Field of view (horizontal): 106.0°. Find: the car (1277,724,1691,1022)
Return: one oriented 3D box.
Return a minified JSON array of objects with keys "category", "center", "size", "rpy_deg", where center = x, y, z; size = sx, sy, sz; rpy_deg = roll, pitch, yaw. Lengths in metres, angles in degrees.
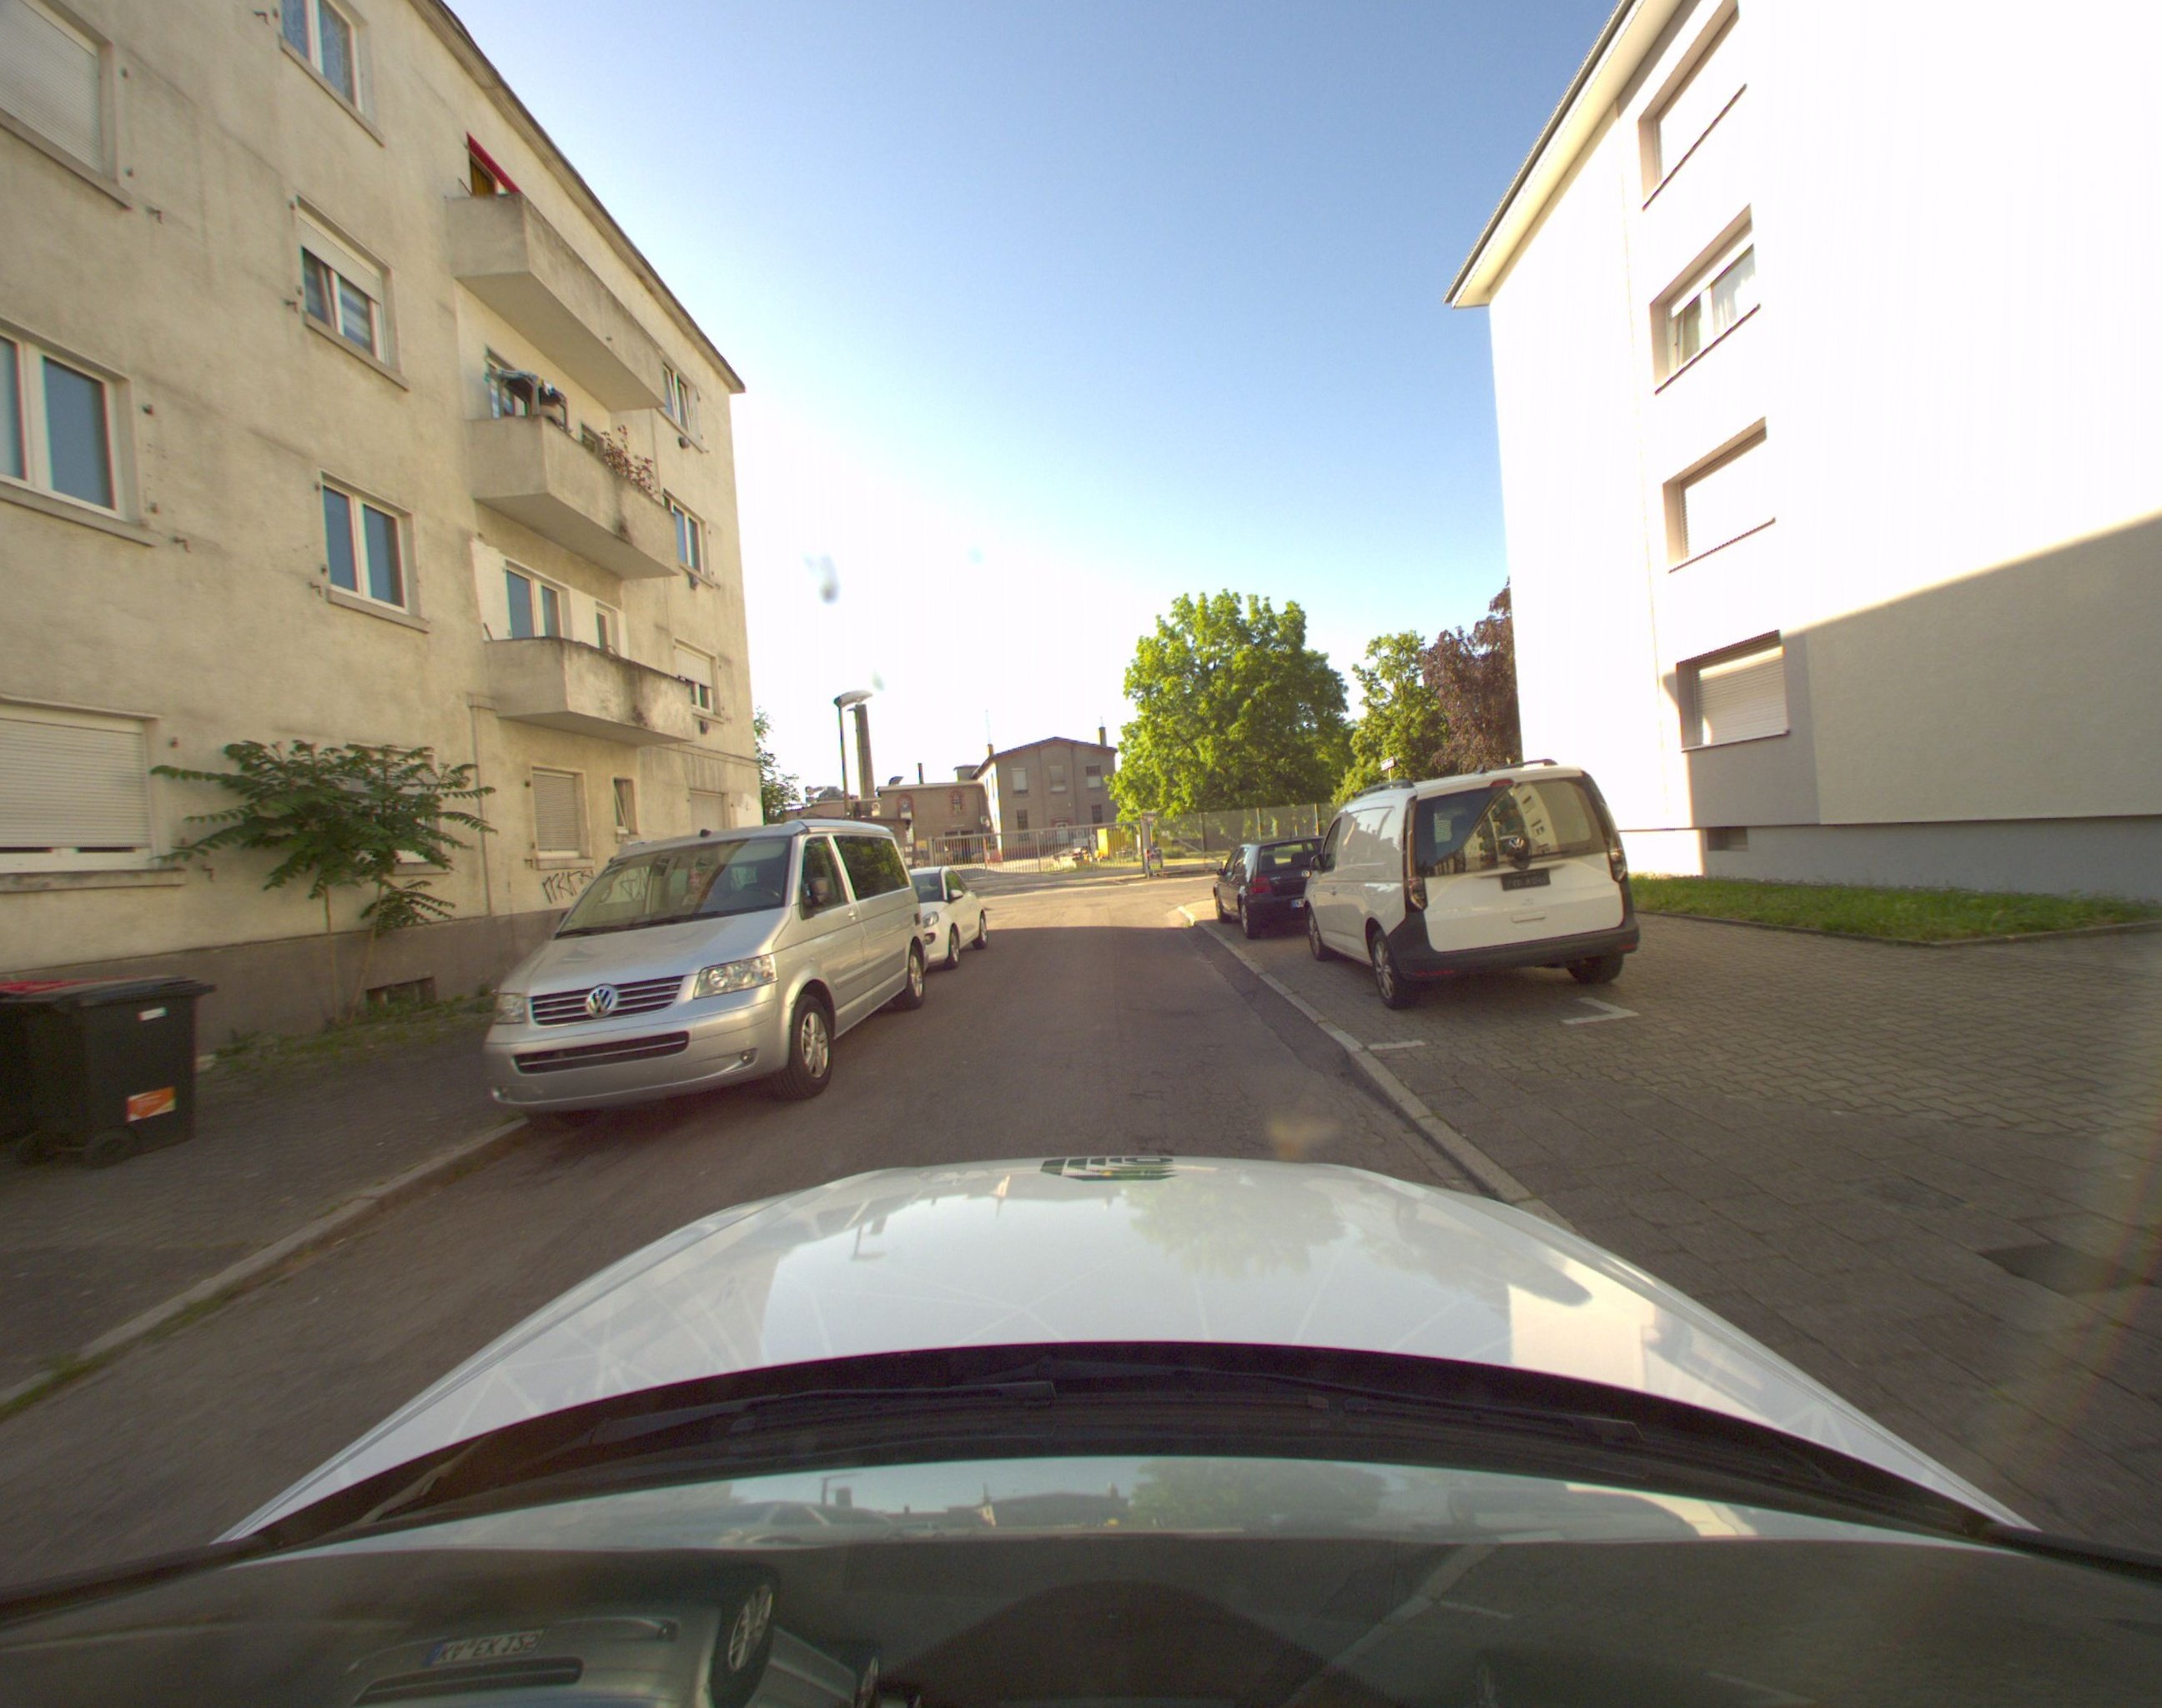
[{"category":"car","center":[3.326,0.111,7.901],"size":[1.790,1.845,4.543],"rpy_deg":[-7,0,3]}]

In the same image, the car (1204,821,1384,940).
[{"category":"car","center":[3.223,0.347,13.197],"size":[1.791,1.414,4.050],"rpy_deg":[-7,0,1]}]

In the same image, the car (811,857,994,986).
[{"category":"car","center":[-2.539,0.893,12.544],"size":[1.680,1.458,3.724],"rpy_deg":[-6,0,3]}]

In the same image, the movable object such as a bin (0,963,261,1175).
[{"category":"movable object such as a bin","center":[-6.021,1.309,5.147],"size":[0.770,1.079,0.816],"rpy_deg":[-4,0,1]}]

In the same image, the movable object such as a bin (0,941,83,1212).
[{"category":"movable object such as a bin","center":[-6.311,1.224,4.076],"size":[1.251,1.376,1.045],"rpy_deg":[-4,0,1]}]

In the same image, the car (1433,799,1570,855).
[{"category":"car","center":[15.738,-0.996,30.644],"size":[4.137,1.664,1.717],"rpy_deg":[-4,-3,0]}]

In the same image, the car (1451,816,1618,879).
[{"category":"car","center":[13.539,-0.202,24.461],"size":[4.060,1.548,1.622],"rpy_deg":[-4,0,-1]}]

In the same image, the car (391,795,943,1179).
[{"category":"car","center":[-2.717,0.720,6.964],"size":[1.944,1.933,4.858],"rpy_deg":[-6,0,1]}]
